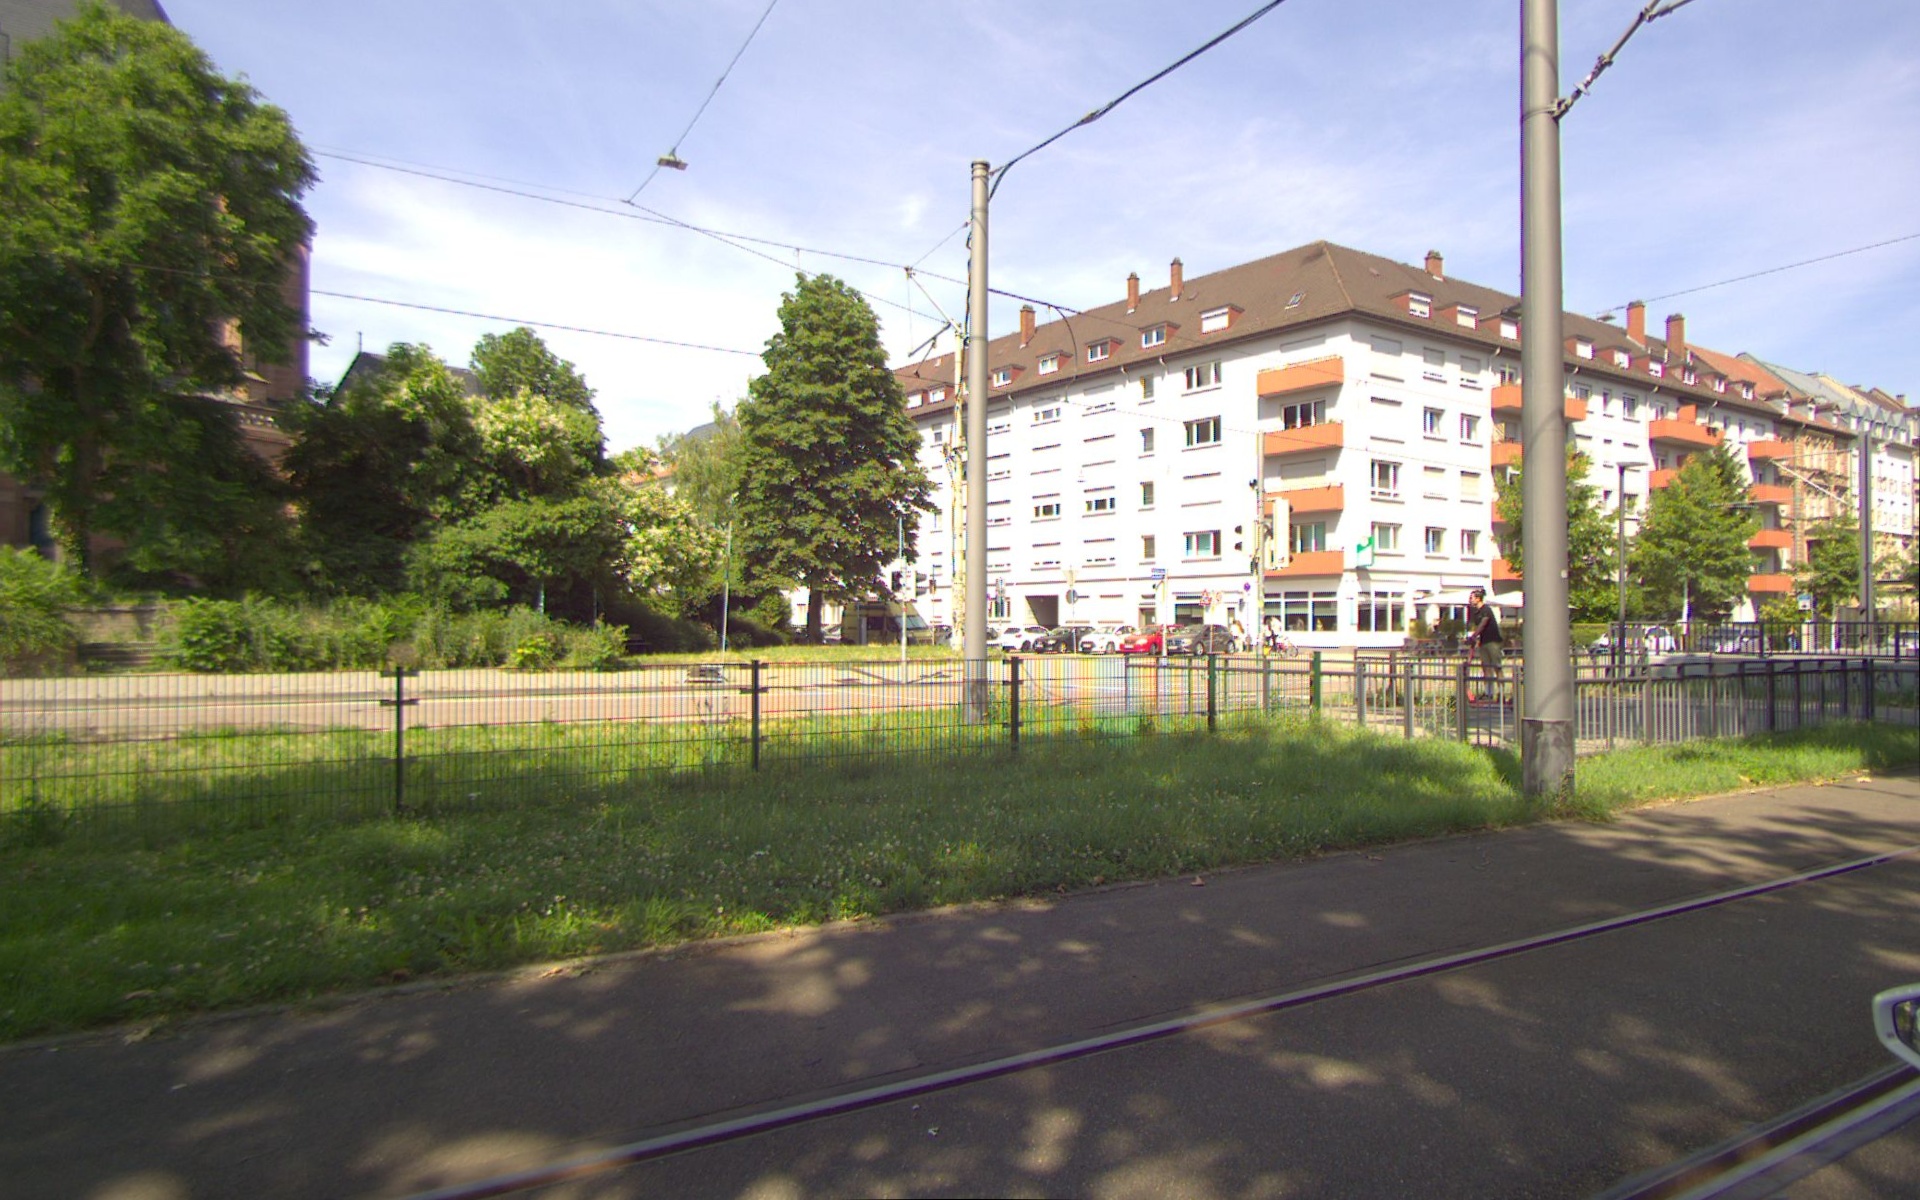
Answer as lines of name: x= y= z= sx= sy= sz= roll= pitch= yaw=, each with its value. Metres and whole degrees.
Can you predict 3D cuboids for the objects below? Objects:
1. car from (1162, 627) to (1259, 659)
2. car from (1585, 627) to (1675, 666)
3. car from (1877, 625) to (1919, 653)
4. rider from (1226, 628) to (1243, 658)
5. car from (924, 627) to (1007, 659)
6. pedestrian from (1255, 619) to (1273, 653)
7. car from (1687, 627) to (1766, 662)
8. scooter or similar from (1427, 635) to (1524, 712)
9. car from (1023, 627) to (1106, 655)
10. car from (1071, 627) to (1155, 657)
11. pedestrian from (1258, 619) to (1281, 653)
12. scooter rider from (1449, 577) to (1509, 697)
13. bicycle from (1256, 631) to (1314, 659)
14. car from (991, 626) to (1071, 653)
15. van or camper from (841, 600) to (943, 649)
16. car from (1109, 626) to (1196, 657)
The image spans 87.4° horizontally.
car: x=11.456 y=1.909 z=45.803 sx=4.598 sy=1.394 sz=1.821 roll=1 pitch=-2 yaw=-36
car: x=27.353 y=1.886 z=40.986 sx=3.961 sy=1.518 sz=1.759 roll=1 pitch=-3 yaw=-36
car: x=53.029 y=2.145 z=56.245 sx=3.961 sy=1.518 sz=1.758 roll=1 pitch=-2 yaw=-36
rider: x=13.348 y=2.077 z=48.795 sx=0.616 sy=1.442 sz=0.587 roll=-1 pitch=-1 yaw=44
car: x=0.227 y=2.003 z=47.639 sx=3.702 sy=1.425 sz=1.823 roll=-1 pitch=-2 yaw=44
pedestrian: x=14.241 y=1.676 z=47.067 sx=0.679 sy=1.593 sz=0.544 roll=-1 pitch=-1 yaw=36
car: x=34.620 y=2.014 z=45.359 sx=3.961 sy=1.518 sz=1.759 roll=1 pitch=-3 yaw=-36
scooter or similar: x=8.328 y=1.173 z=16.262 sx=1.245 sy=1.220 sz=0.658 roll=0 pitch=-1 yaw=6
car: x=5.455 y=2.101 z=52.274 sx=4.129 sy=1.425 sz=1.918 roll=1 pitch=-2 yaw=-38
car: x=7.745 y=2.095 z=50.710 sx=4.129 sy=1.425 sz=1.918 roll=1 pitch=-2 yaw=-38
pedestrian: x=14.644 y=1.714 z=47.546 sx=0.846 sy=1.593 sz=0.688 roll=-1 pitch=-1 yaw=36
scooter rider: x=8.391 y=0.589 z=16.255 sx=0.655 sy=1.891 sz=0.664 roll=0 pitch=-1 yaw=6
bicycle: x=14.219 y=1.947 z=43.939 sx=2.779 sy=1.152 sz=0.905 roll=1 pitch=-1 yaw=-34
car: x=3.890 y=2.127 z=54.552 sx=4.129 sy=1.425 sz=1.918 roll=1 pitch=-1 yaw=-38
van or camper: x=-3.605 y=1.257 z=52.030 sx=2.228 sy=2.360 sz=5.704 roll=1 pitch=-2 yaw=-42
car: x=9.288 y=1.963 z=48.396 sx=4.129 sy=1.425 sz=1.918 roll=1 pitch=-2 yaw=-38
